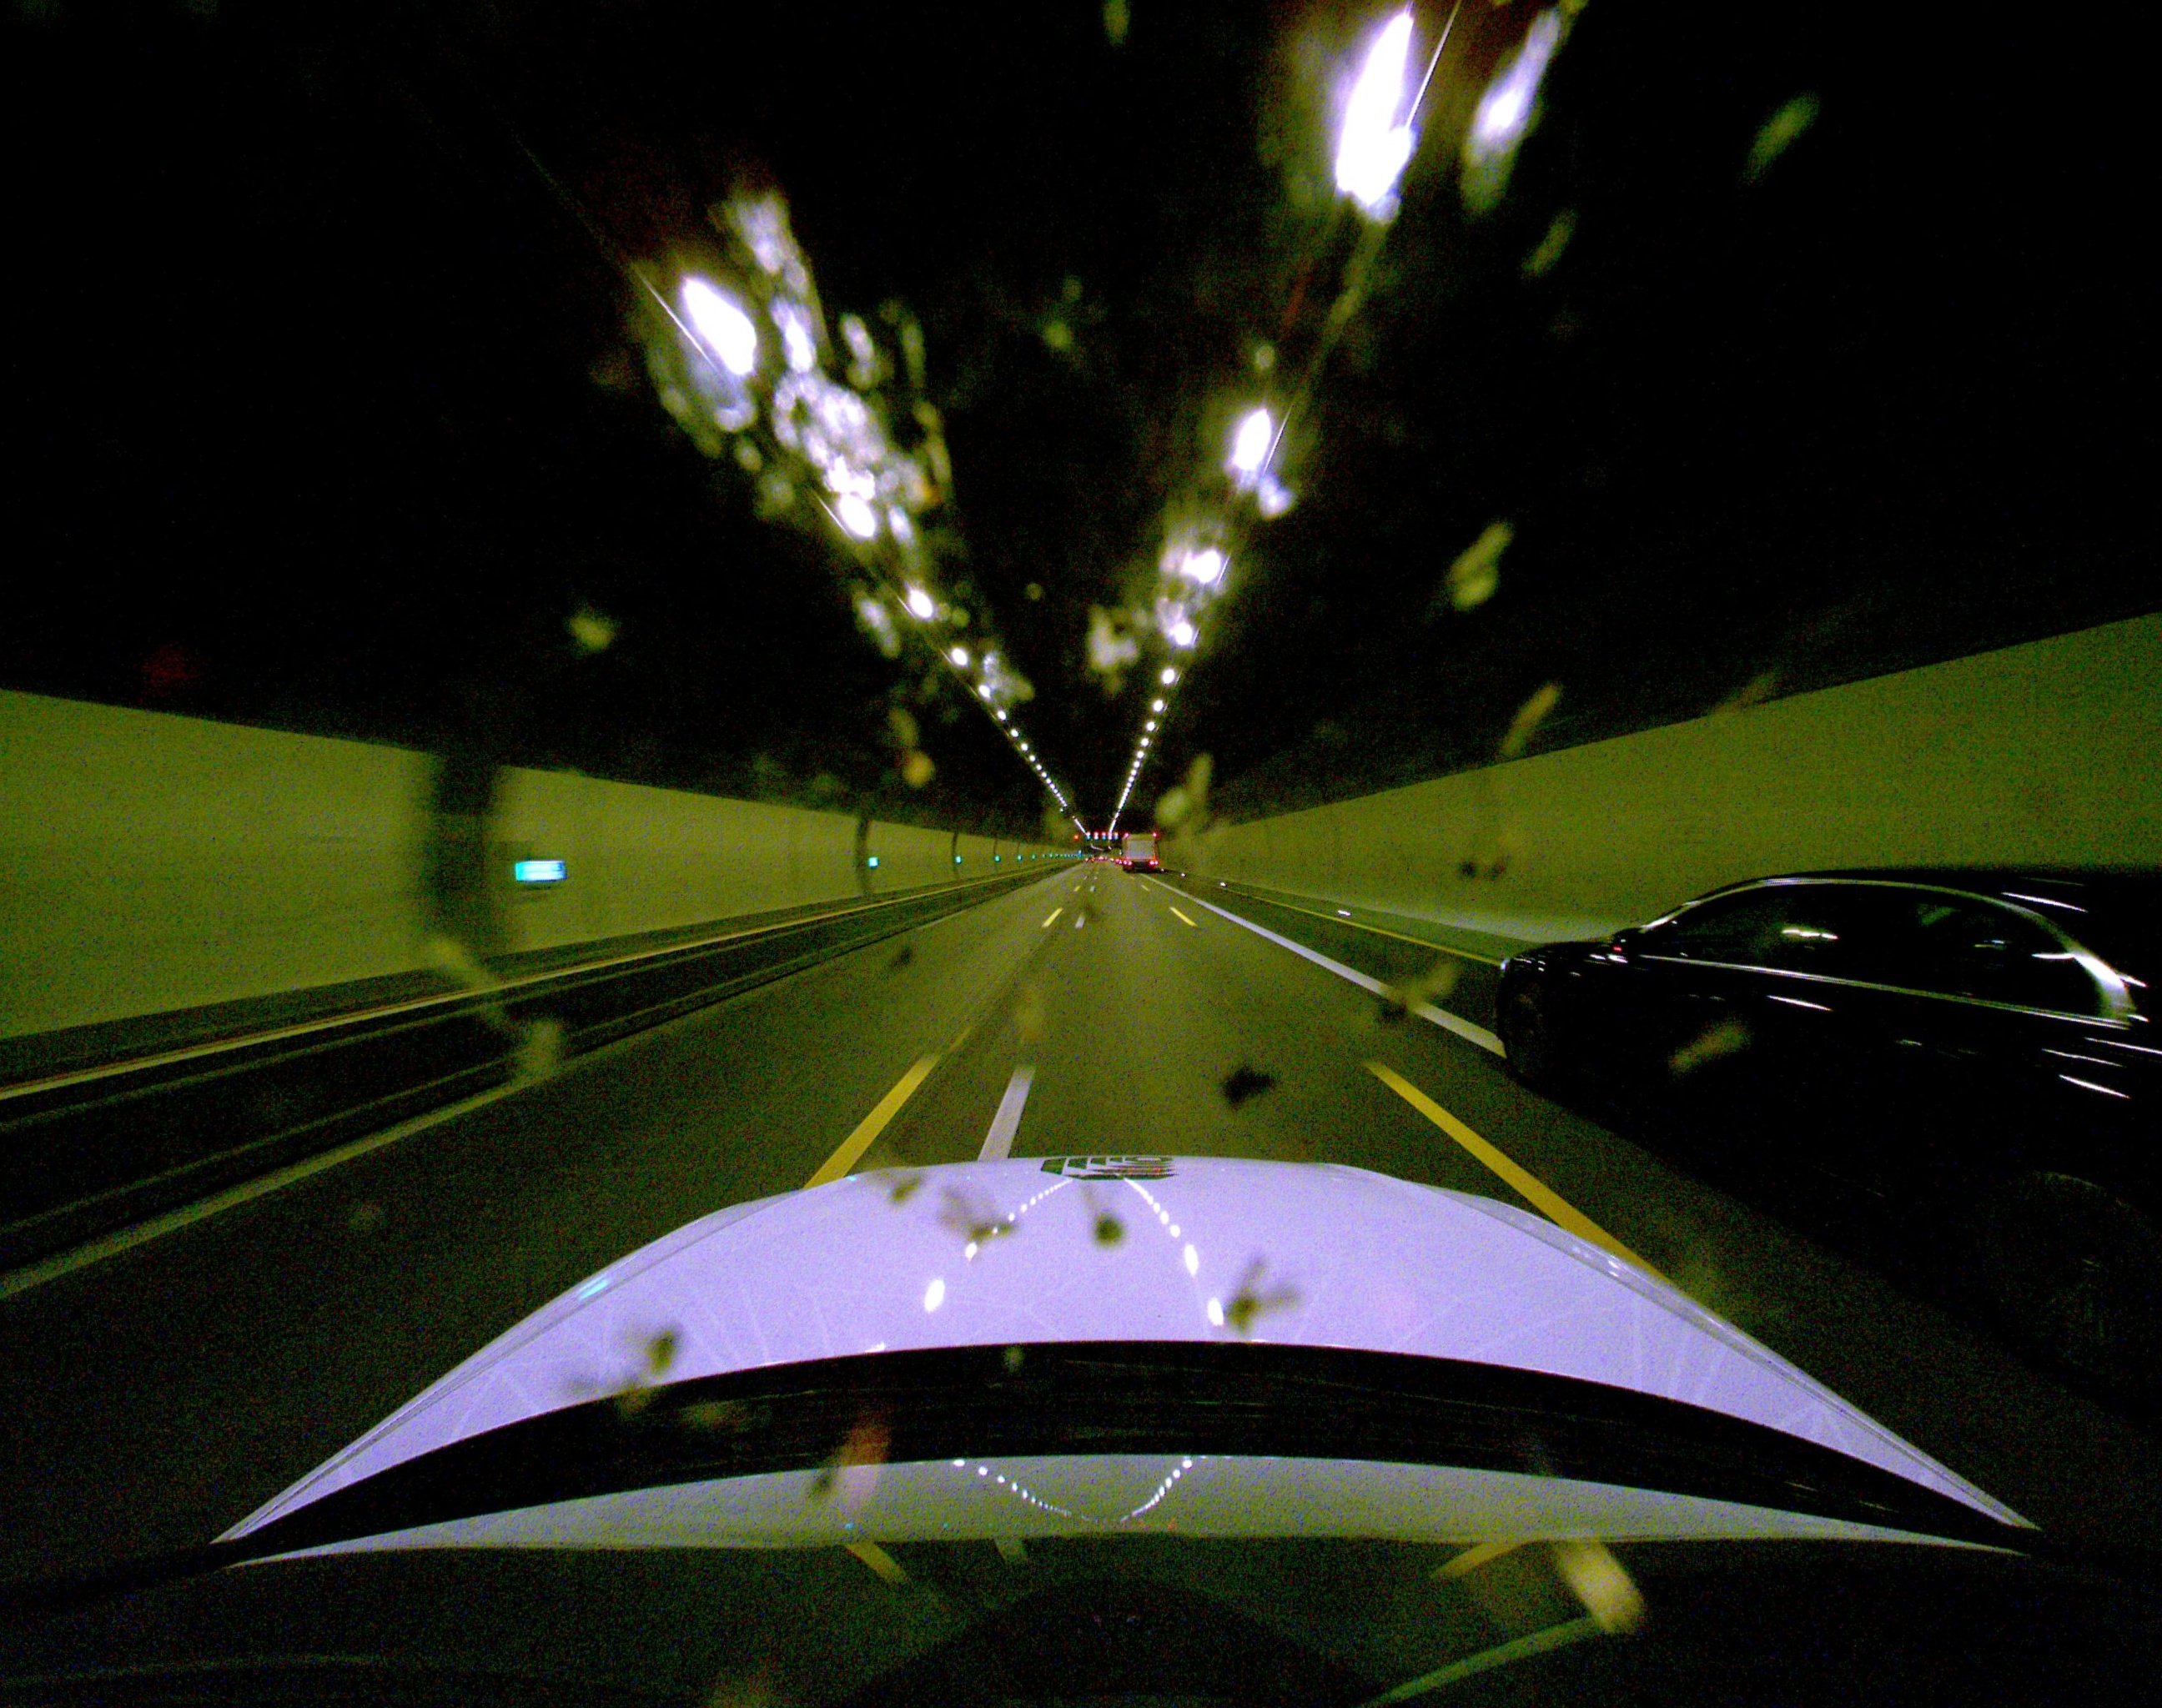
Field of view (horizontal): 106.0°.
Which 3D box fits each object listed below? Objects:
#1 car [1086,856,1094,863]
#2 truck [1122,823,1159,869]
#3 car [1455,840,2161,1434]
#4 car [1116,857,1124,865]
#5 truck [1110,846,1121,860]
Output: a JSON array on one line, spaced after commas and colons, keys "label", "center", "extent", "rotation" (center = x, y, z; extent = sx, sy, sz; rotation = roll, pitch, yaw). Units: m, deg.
[{"label": "car", "center": [1.961, 1.158, 179.406], "extent": [1.752, 1.461, 4.121], "rotation": [0, 0, 2]}, {"label": "truck", "center": [5.395, -0.615, 75.443], "extent": [3.080, 3.918, 10.371], "rotation": [1, -1, 2]}, {"label": "car", "center": [3.693, 0.713, 3.647], "extent": [1.918, 1.472, 4.956], "rotation": [0, 0, 2]}, {"label": "car", "center": [7.891, 1.426, 164.147], "extent": [1.732, 1.461, 3.963], "rotation": [0, 0, 3]}, {"label": "truck", "center": [10.064, -0.105, 238.825], "extent": [3.054, 3.918, 10.375], "rotation": [0, -1, 3]}]
